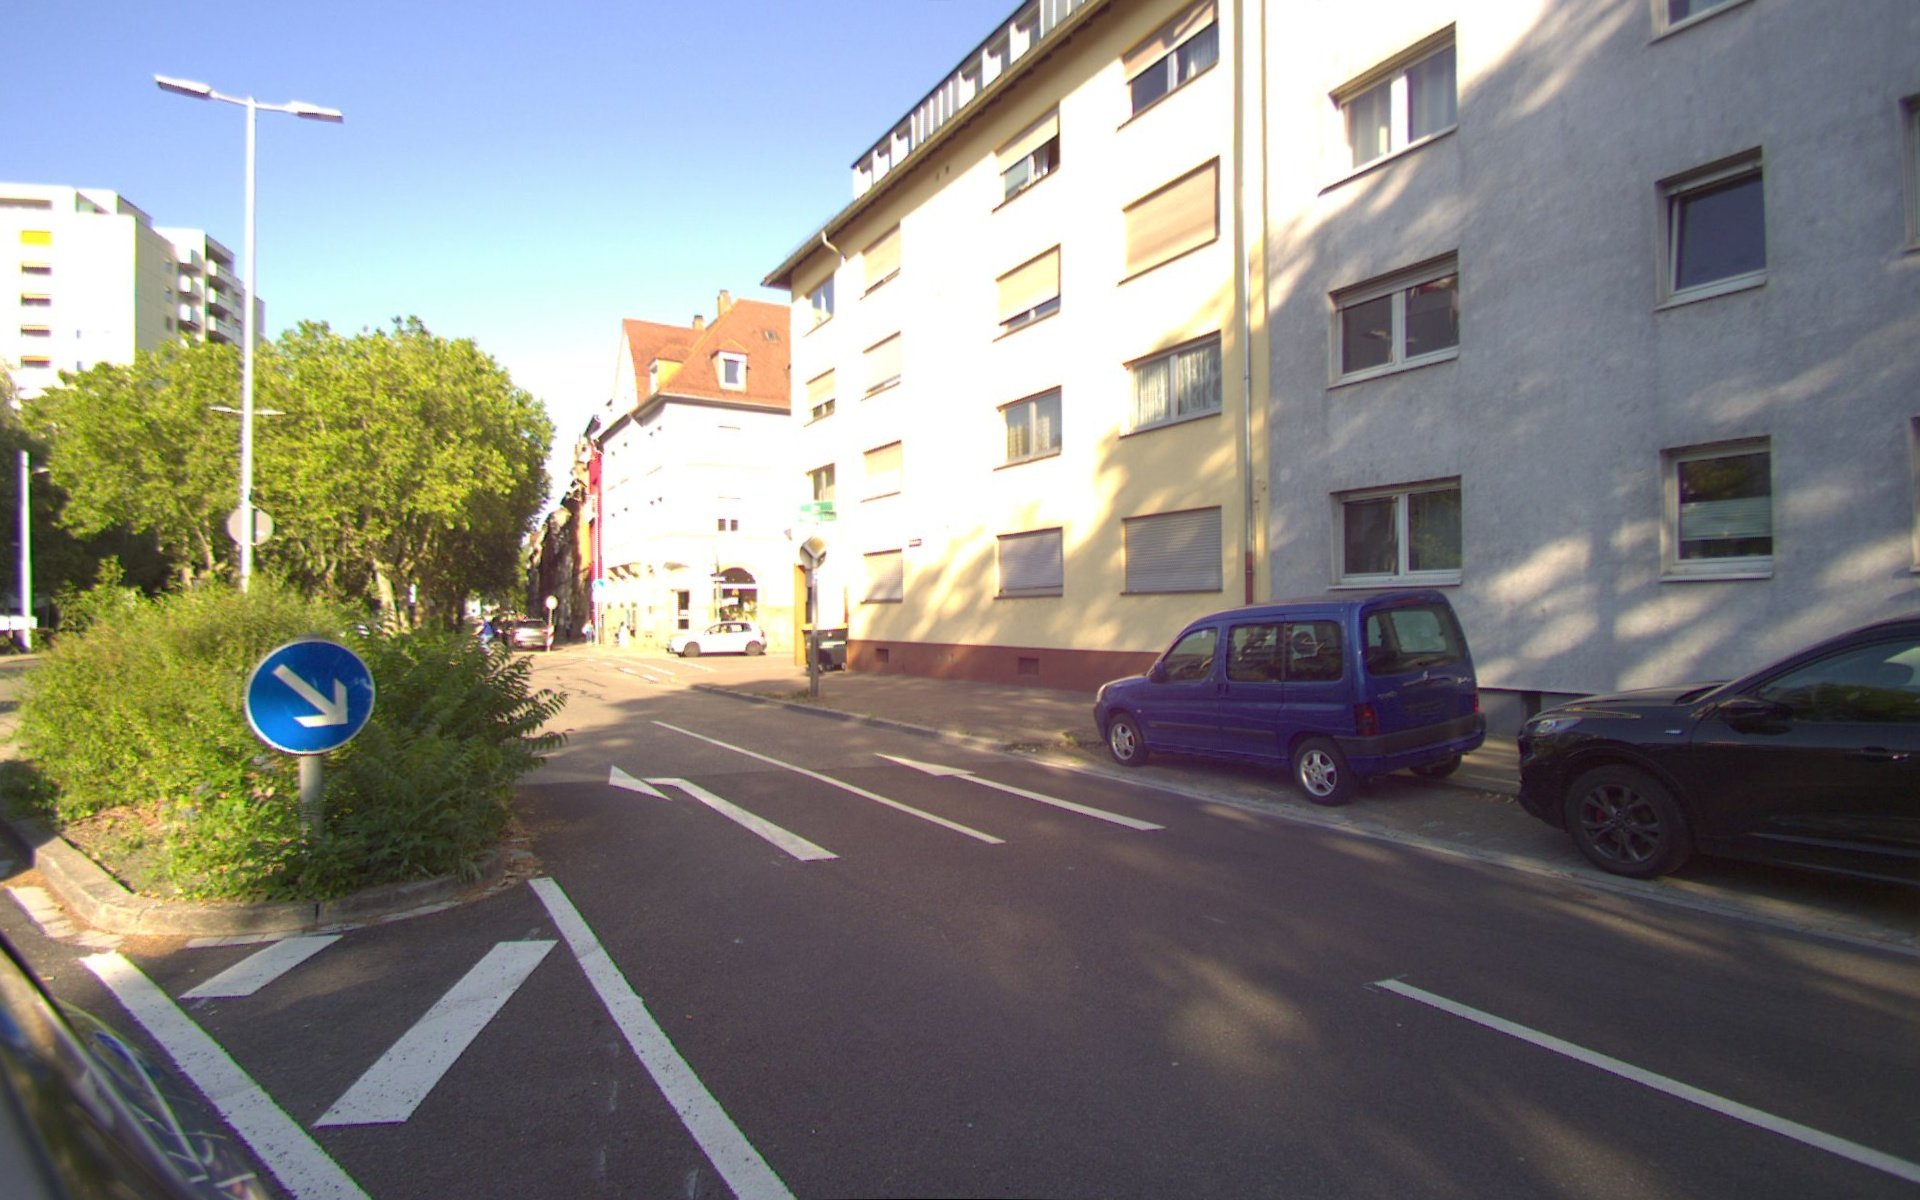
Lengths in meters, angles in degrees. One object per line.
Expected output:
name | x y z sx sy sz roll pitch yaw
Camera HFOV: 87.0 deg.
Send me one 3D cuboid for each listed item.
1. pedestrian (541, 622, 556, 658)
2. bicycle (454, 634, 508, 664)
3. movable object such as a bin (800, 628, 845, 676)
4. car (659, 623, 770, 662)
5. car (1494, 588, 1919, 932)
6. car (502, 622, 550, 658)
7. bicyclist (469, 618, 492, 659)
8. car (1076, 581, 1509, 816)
pedestrian | -19.642 1.910 48.326 0.662 1.725 0.715 0 -1 -21
bicycle | -18.241 1.860 38.567 1.837 1.098 0.629 0 -1 -23
movable object such as a bin | -3.816 1.425 28.044 1.017 1.296 1.065 0 -2 -20
car | -10.180 1.726 41.970 4.133 1.523 1.807 0 -2 -28
car | 5.590 0.779 5.429 1.879 1.685 4.507 -2 0 -27
car | -22.715 2.058 52.863 1.867 1.806 4.012 1 -2 -29
bicyclist | -18.263 1.456 38.567 0.738 1.565 0.632 0 -1 -21
car | 3.052 0.814 10.169 1.641 1.832 4.017 -2 0 -29
